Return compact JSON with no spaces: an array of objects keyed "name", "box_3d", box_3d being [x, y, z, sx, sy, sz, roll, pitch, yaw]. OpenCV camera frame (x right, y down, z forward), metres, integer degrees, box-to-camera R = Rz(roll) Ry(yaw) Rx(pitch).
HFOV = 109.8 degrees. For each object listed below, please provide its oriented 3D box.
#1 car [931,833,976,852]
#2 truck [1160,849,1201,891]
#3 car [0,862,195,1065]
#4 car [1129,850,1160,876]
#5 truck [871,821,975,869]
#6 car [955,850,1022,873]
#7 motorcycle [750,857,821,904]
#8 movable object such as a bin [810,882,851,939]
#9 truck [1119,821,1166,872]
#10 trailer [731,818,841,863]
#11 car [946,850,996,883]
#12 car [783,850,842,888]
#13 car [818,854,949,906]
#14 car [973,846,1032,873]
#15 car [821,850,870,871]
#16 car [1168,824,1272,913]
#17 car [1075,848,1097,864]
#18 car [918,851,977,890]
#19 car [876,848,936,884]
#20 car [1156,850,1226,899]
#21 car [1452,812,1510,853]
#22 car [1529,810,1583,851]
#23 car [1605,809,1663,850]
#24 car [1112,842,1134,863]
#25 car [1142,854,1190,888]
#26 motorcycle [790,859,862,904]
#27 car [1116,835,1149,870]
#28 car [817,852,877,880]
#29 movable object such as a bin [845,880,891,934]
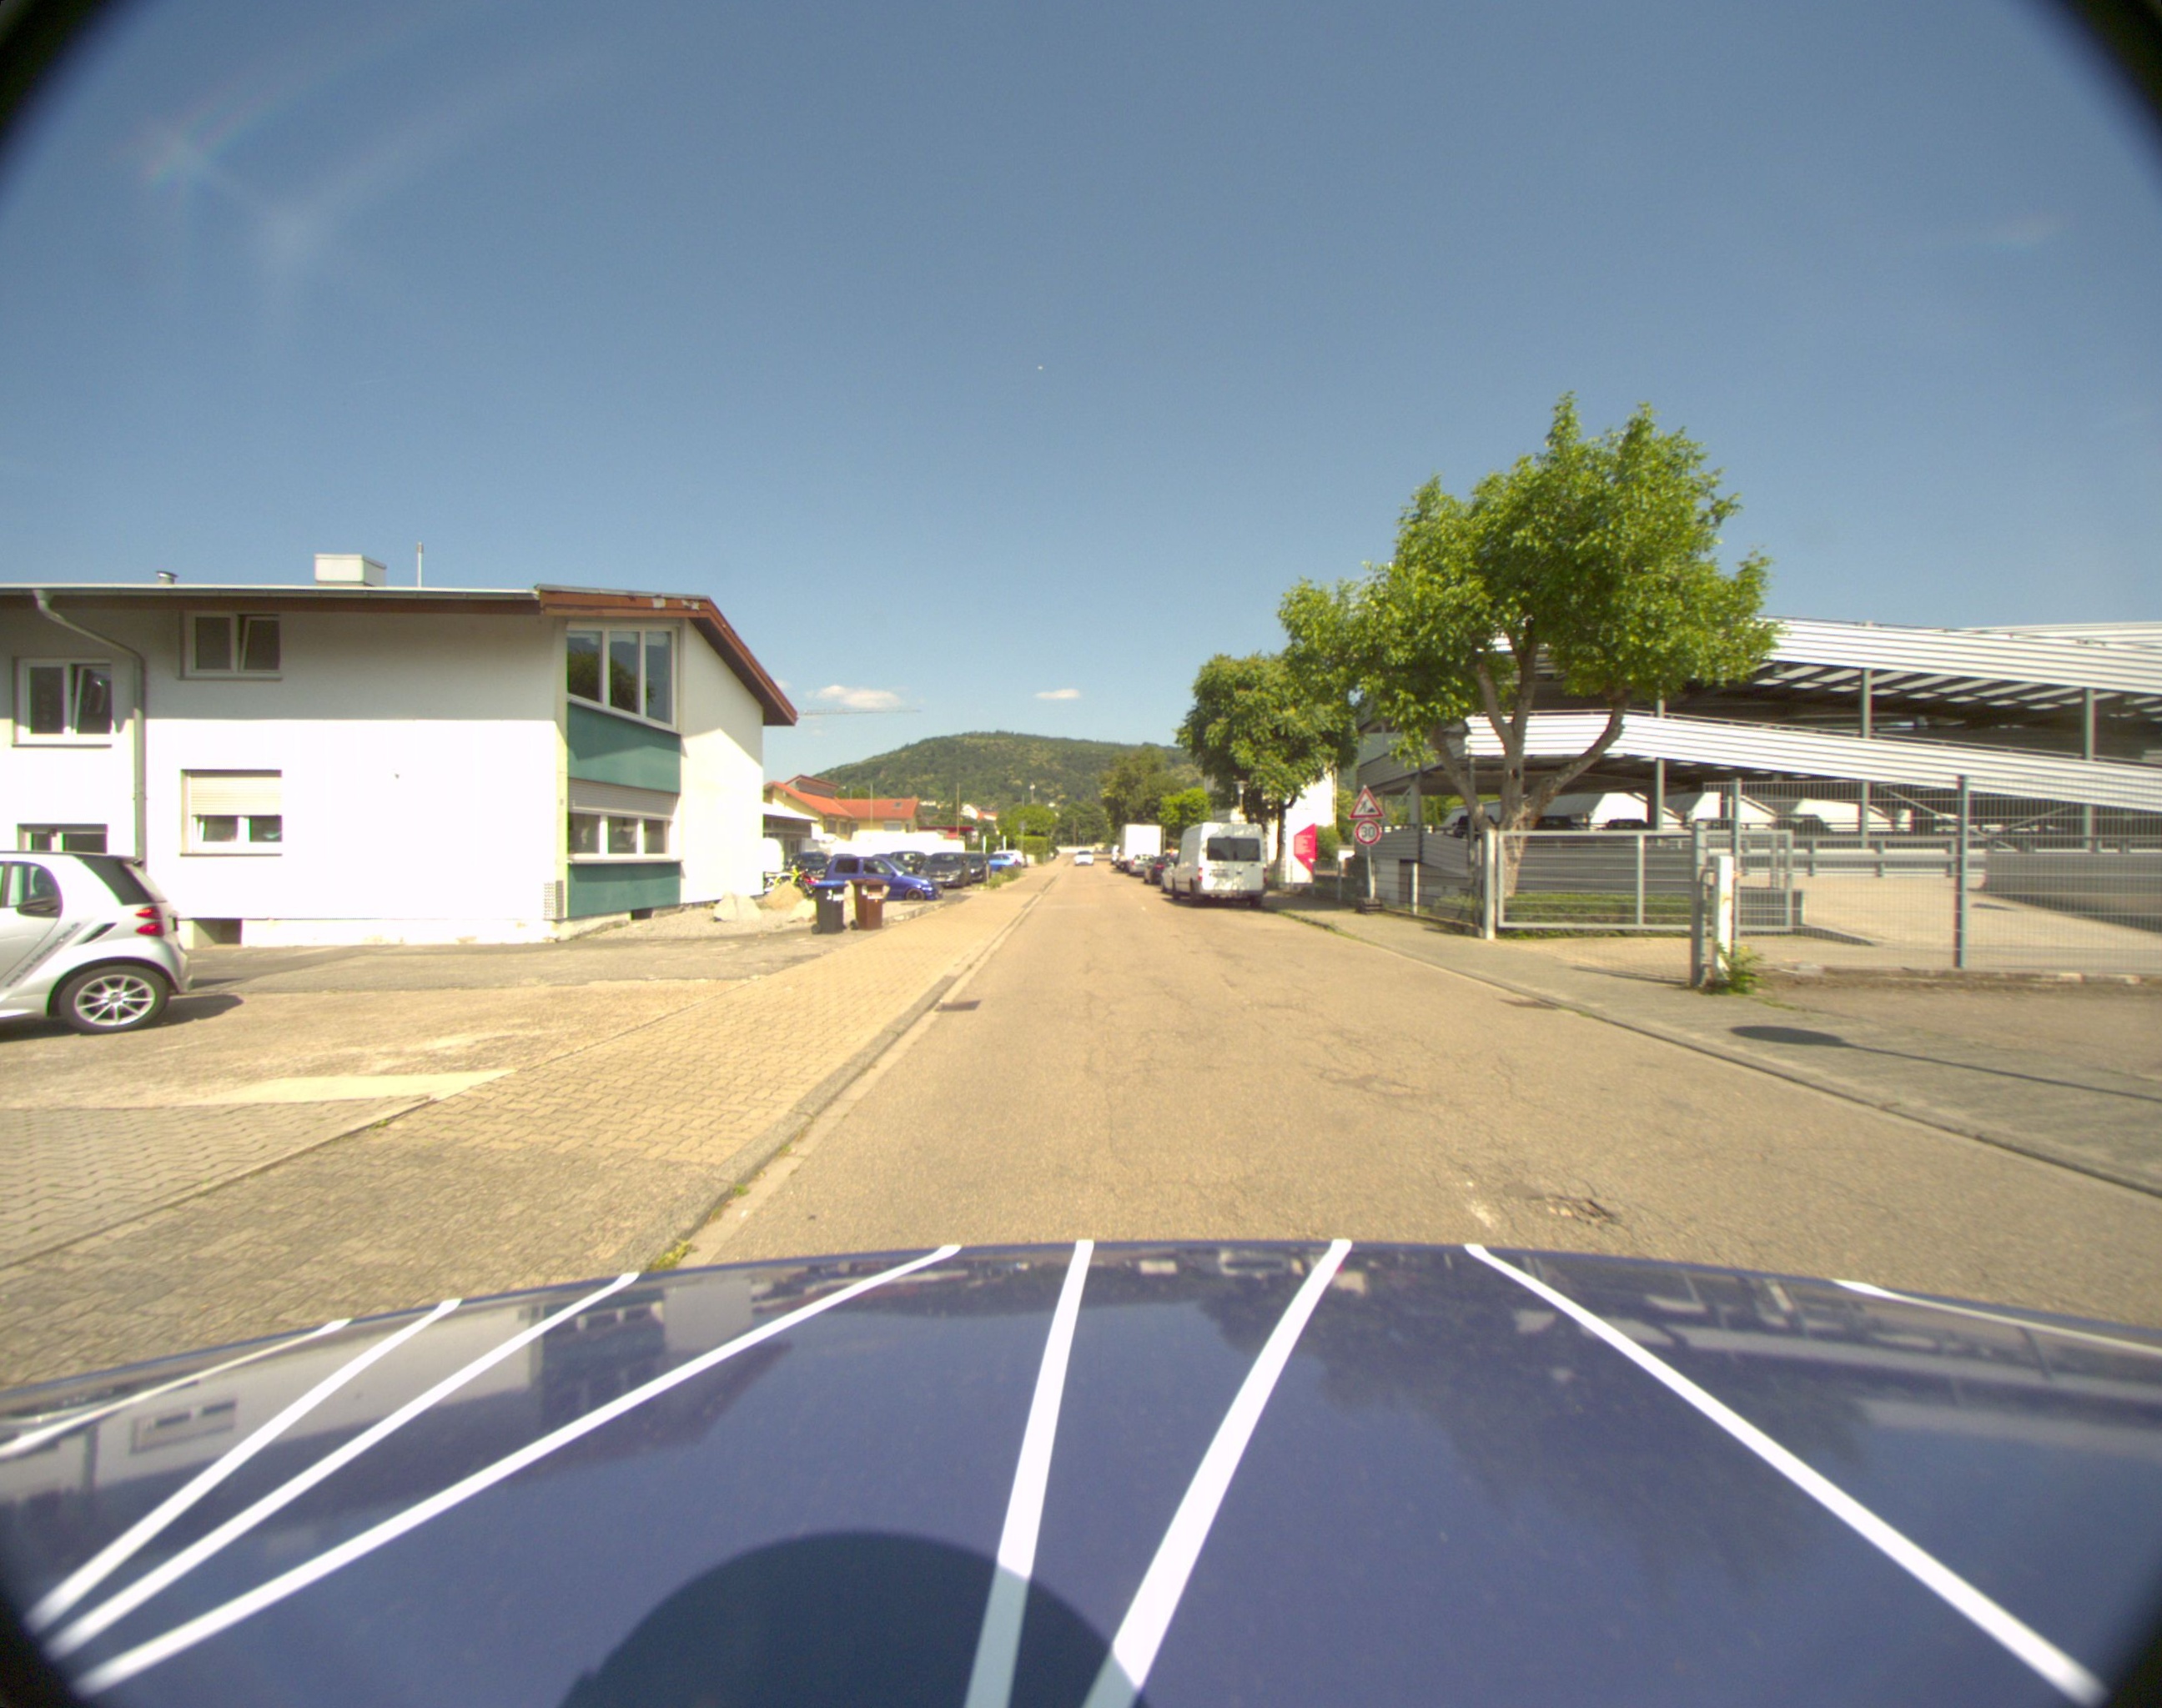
[{"name":"car","box_3d":[-18.631,-1.681,111.021,6.026,2.664,2.254,0,2,-22]},{"name":"truck","box_3d":[4.138,0.643,31.972,1.141,1.613,3.140,2,1,-2]},{"name":"car","box_3d":[-9.642,0.857,5.788,1.774,1.531,3.711,1,1,42]},{"name":"car","box_3d":[3.953,0.517,47.789,1.745,1.512,4.310,1,1,3]},{"name":"truck","box_3d":[-12.560,-0.731,60.761,7.537,3.404,2.526,-3,1,1]},{"name":"car","box_3d":[-6.281,0.487,52.034,4.364,1.433,1.892,-2,0,0]},{"name":"motorcycle","box_3d":[-8.385,0.745,21.590,1.758,1.272,0.794,1,1,-30]},{"name":"movable object such as a bin","box_3d":[-4.410,0.986,13.397,0.514,0.940,0.488,1,1,12]},{"name":"truck","box_3d":[4.253,-0.601,54.144,2.692,3.347,7.127,1,2,-1]},{"name":"trailer","box_3d":[-25.468,-1.188,65.902,8.351,3.841,3.068,0,2,6]},{"name":"car","box_3d":[-5.515,0.566,38.659,1.863,1.558,4.950,0,1,0]},{"name":"car","box_3d":[-11.610,0.613,33.122,1.766,1.487,4.145,1,1,-11]},{"name":"car","box_3d":[-5.535,0.723,21.596,3.261,1.390,1.673,0,0,1]},{"name":"car","box_3d":[-5.937,0.377,57.874,4.212,1.673,1.766,-4,2,0]},{"name":"car","box_3d":[-16.414,0.430,53.191,1.890,1.384,4.027,1,1,4]},{"name":"car","box_3d":[4.043,0.372,23.064,2.010,2.352,5.228,2,1,-2]},{"name":"car","box_3d":[0.478,0.208,76.293,1.896,1.412,4.168,2,2,-3]},{"name":"car","box_3d":[-5.734,0.654,33.129,1.816,1.549,4.292,0,1,0]},{"name":"car","box_3d":[-8.105,0.537,35.504,1.763,1.586,3.619,0,0,4]},{"name":"car","box_3d":[4.035,0.710,28.440,1.709,1.615,3.971,2,1,-4]},{"name":"car","box_3d":[17.591,-0.991,33.322,1.812,1.662,4.007,1,4,34]},{"name":"car","box_3d":[20.611,-1.045,32.917,1.812,1.662,4.007,1,4,34]},{"name":"car","box_3d":[23.691,-1.097,32.669,1.812,1.662,4.007,1,4,34]},{"name":"car","box_3d":[4.227,-0.220,77.712,1.976,2.002,5.055,2,1,0]},{"name":"car","box_3d":[4.033,0.757,36.625,1.709,1.454,4.112,1,1,-1]},{"name":"motorcycle","box_3d":[-7.634,0.802,22.804,1.874,1.272,0.796,1,1,-3]},{"name":"car","box_3d":[4.107,-0.190,61.863,2.174,2.581,6.918,1,2,0]},{"name":"car","box_3d":[-11.925,0.585,39.004,1.645,1.317,4.101,0,1,3]},{"name":"movable object such as a bin","box_3d":[-3.894,0.955,13.899,0.567,0.940,0.558,1,1,34]}]
